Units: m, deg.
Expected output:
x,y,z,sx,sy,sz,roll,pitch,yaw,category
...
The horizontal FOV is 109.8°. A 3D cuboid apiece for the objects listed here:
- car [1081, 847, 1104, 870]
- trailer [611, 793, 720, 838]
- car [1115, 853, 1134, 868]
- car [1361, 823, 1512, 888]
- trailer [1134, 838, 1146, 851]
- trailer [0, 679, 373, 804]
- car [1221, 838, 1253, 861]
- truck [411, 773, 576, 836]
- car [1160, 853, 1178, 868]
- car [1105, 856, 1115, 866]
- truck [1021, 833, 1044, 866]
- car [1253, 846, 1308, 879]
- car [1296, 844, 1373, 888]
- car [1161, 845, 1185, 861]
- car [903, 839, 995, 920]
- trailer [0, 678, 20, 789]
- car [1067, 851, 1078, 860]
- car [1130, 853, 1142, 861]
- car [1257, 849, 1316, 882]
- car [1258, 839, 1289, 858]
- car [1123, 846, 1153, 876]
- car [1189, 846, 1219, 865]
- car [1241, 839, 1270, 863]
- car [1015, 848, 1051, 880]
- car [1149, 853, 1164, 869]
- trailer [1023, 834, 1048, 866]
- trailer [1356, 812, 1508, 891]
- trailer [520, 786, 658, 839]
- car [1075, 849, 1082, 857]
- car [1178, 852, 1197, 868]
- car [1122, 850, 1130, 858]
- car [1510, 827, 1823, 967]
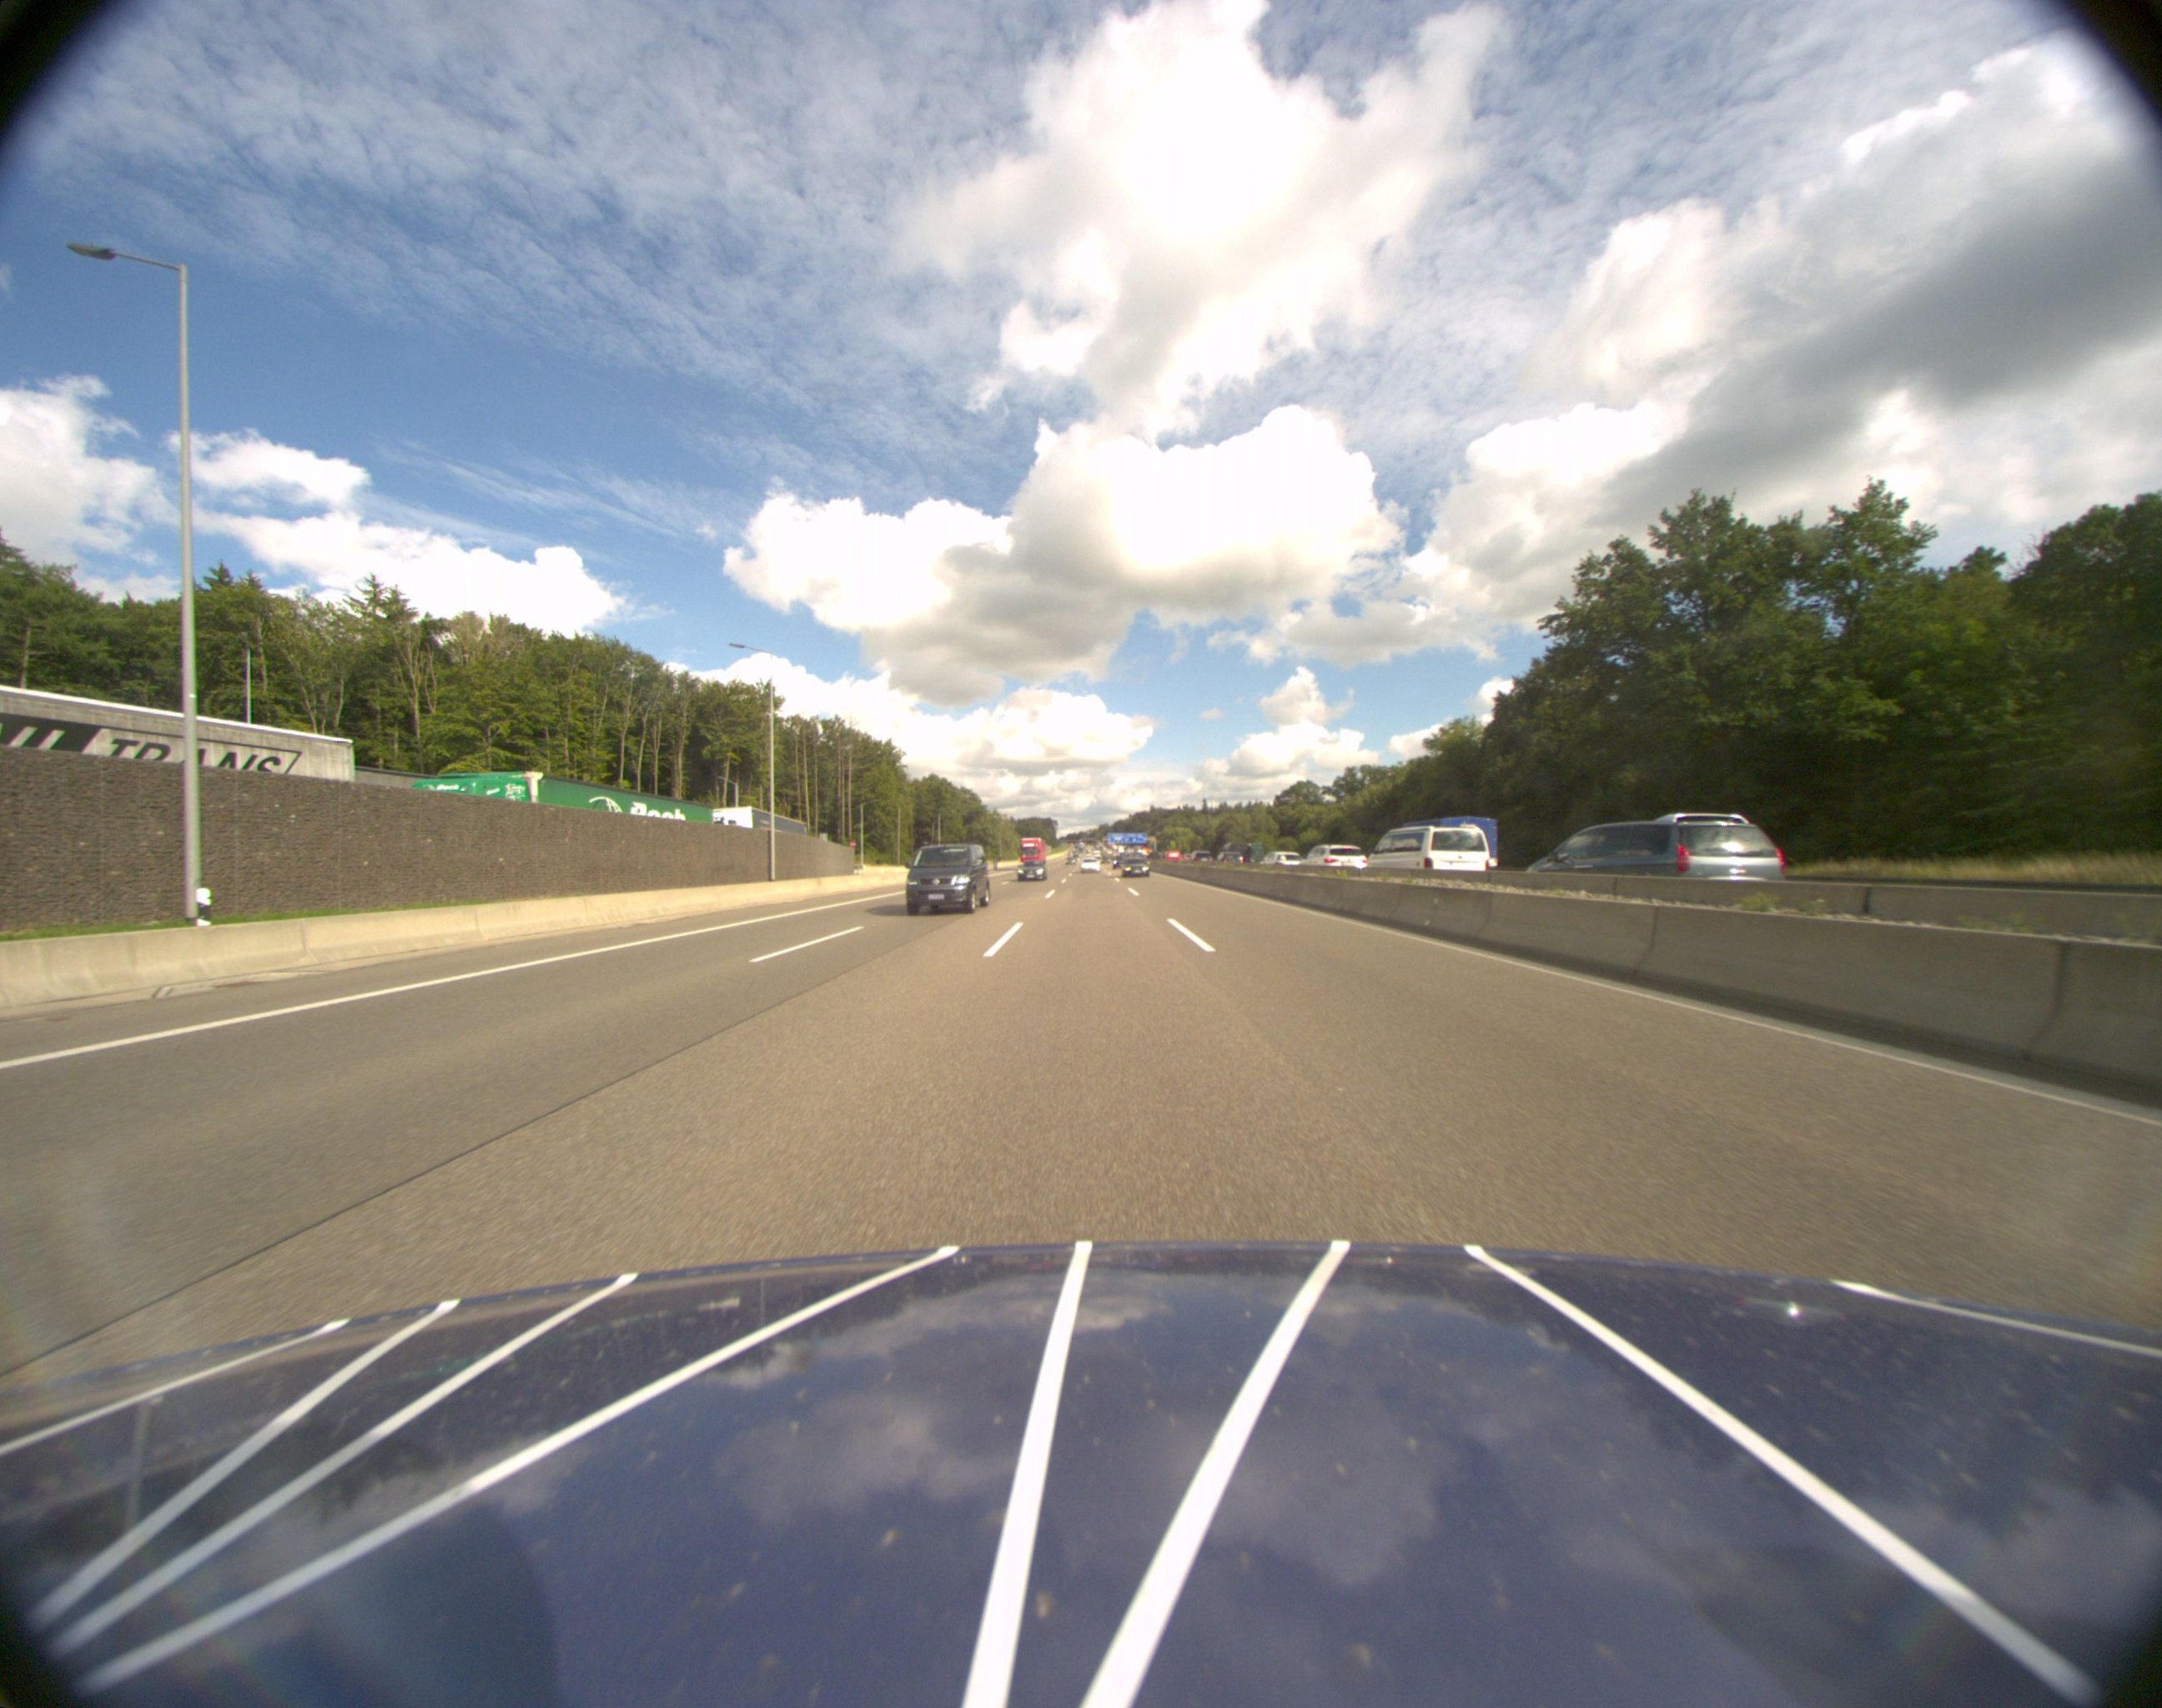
x,y,z,sx,sy,sz,roll,pitch,yaw,category
1.106,0.412,71.565,1.998,2.002,4.000,-1,0,2,car
-20.786,-1.904,38.401,1.998,2.002,6.190,-2,2,0,trailer
5.082,0.743,88.649,1.911,1.582,4.286,-2,2,1,car
10.177,0.016,22.304,1.998,1.563,5.329,-4,0,2,car
20.632,-3.551,267.215,2.778,4.211,13.654,-2,2,0,trailer
-20.760,-2.317,17.572,2.056,2.002,6.961,-2,2,0,trailer
14.722,-0.396,72.087,1.998,2.020,5.846,-2,0,2,car
-20.897,-1.706,27.365,2.050,2.002,4.779,-2,2,2,truck
11.404,0.827,98.742,1.862,1.753,4.458,-2,1,2,car
5.498,1.267,145.724,1.804,1.783,3.757,-1,1,1,car
-6.282,-0.591,99.443,2.532,4.179,4.652,-2,2,0,truck
10.399,0.409,39.895,1.998,1.563,3.511,-2,0,2,car
10.184,0.446,30.871,1.770,1.563,4.357,-2,0,2,car
10.322,-0.119,85.598,1.881,1.752,5.293,-2,0,-1,car
-3.876,0.653,23.164,1.927,2.153,4.960,-1,1,0,car
-20.816,-2.086,11.084,2.050,2.002,6.004,-2,2,0,trailer
-1.637,0.312,146.545,1.911,1.582,4.285,-2,2,-2,car
10.676,0.586,147.552,1.998,1.563,4.815,-2,0,2,car
10.814,0.569,40.307,1.998,1.563,4.357,-2,0,2,car
19.067,-0.581,75.568,1.998,1.752,4.459,-2,0,2,car
4.005,0.436,54.126,1.919,2.002,4.000,-2,1,2,car
10.965,0.131,68.081,1.998,1.563,5.207,-2,0,2,car
18.933,-0.335,82.470,1.998,2.360,5.329,-2,0,2,car
-3.234,0.655,52.381,1.998,2.002,4.000,-3,1,2,car
11.006,1.020,110.849,1.821,2.002,4.451,-2,2,2,car
-6.236,-0.675,106.372,2.531,4.096,14.372,-2,2,0,trailer
14.206,-0.135,31.653,2.284,2.770,8.539,-2,1,0,trailer
-20.802,-1.718,32.540,1.998,2.002,5.773,-2,2,0,trailer
-0.615,-0.318,204.185,1.804,1.865,3.950,-1,1,1,car
14.304,0.777,102.116,1.998,2.002,4.457,2,2,2,car
11.930,0.032,200.543,1.691,1.806,4.294,-2,2,0,car
9.945,0.554,13.529,1.998,2.002,4.675,-2,2,0,car
